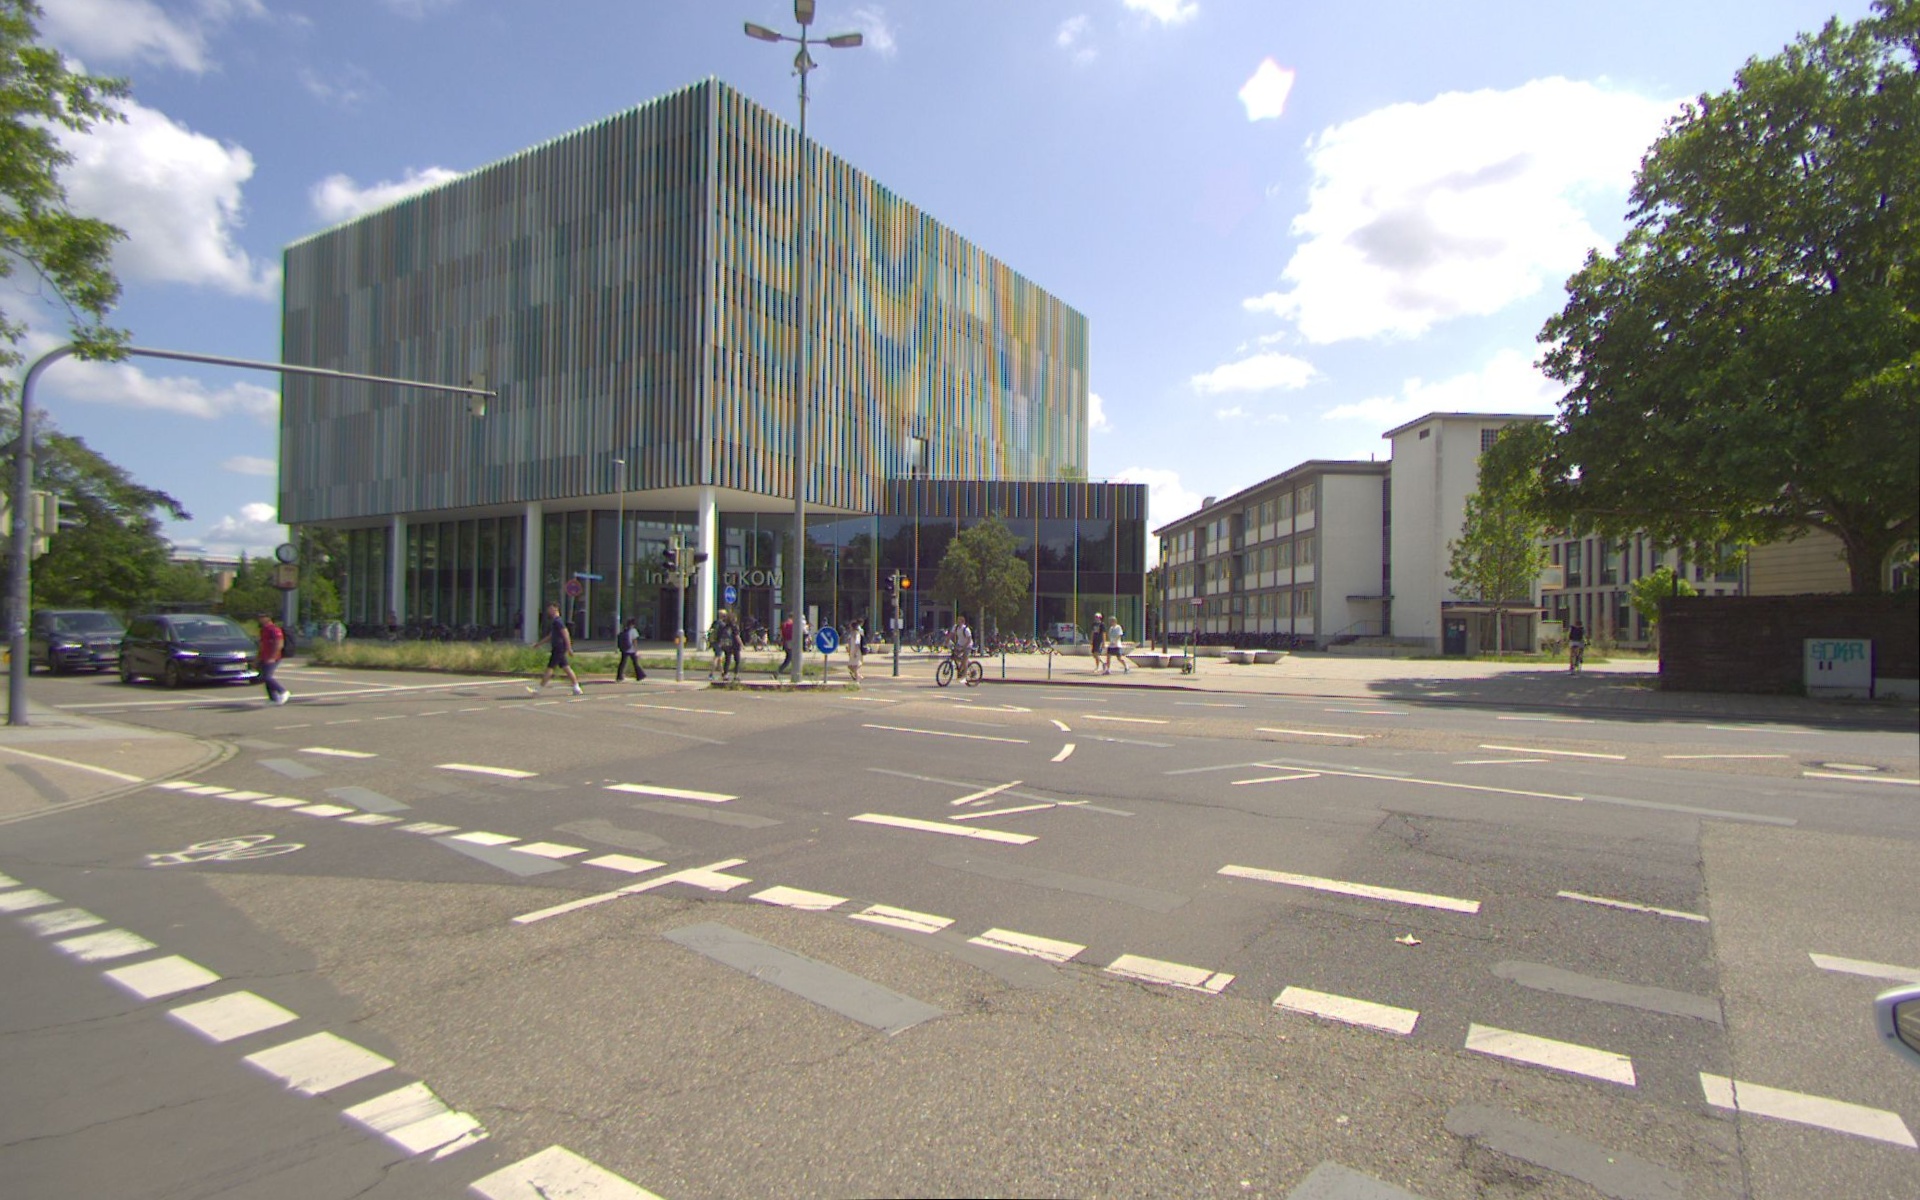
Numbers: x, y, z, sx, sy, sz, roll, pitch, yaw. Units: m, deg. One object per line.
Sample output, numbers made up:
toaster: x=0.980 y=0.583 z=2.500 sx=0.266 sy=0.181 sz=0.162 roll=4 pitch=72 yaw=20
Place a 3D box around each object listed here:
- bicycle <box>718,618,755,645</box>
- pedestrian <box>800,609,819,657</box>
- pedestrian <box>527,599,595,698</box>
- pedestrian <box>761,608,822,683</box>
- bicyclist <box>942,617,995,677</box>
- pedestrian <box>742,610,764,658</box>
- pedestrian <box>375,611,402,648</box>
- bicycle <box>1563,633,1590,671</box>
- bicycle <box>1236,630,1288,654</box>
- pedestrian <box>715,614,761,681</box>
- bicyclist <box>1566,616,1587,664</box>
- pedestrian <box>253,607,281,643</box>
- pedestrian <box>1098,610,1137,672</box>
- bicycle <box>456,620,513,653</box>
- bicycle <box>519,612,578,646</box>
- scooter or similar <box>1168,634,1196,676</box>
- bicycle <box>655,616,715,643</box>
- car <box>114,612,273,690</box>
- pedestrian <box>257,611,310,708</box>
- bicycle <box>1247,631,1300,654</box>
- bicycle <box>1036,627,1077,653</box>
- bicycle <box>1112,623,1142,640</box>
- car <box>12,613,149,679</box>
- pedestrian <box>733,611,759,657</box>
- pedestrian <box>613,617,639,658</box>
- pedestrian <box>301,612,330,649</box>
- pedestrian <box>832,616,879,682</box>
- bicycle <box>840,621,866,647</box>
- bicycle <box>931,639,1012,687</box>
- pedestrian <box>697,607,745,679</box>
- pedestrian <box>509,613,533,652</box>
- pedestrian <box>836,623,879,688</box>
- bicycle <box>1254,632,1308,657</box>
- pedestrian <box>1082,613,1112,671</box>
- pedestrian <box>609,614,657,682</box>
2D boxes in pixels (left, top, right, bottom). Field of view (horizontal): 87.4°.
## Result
bicycle: x=-11.079 y=1.567 z=50.002 sx=1.352 sy=1.253 sz=2.950 roll=2 pitch=-1 yaw=-4
pedestrian: x=-8.387 y=1.847 z=56.048 sx=0.958 sy=2.598 sz=1.013 roll=2 pitch=-1 yaw=-11
pedestrian: x=-7.872 y=0.940 z=19.834 sx=1.073 sy=1.895 sz=0.824 roll=1 pitch=-2 yaw=-35
pedestrian: x=-4.211 y=1.122 z=25.071 sx=1.255 sy=1.831 sz=0.800 roll=2 pitch=-2 yaw=-37
bicyclist: x=0.225 y=1.190 z=25.599 sx=1.058 sy=1.487 sz=0.843 roll=2 pitch=-2 yaw=-36
pedestrian: x=-11.506 y=1.893 z=55.840 sx=0.957 sy=2.598 sz=1.014 roll=2 pitch=-1 yaw=-4
pedestrian: x=-34.782 y=1.809 z=61.163 sx=0.959 sy=2.230 sz=1.012 roll=1 pitch=-1 yaw=32
bicycle: x=19.183 y=1.607 z=31.243 sx=0.543 sy=1.145 sz=2.166 roll=0 pitch=-2 yaw=37
bicycle: x=19.303 y=2.679 z=64.175 sx=2.909 sy=1.381 sz=1.275 roll=2 pitch=-1 yaw=-6
pedestrian: x=-5.640 y=1.196 z=25.492 sx=0.854 sy=1.676 sz=0.819 roll=2 pitch=-2 yaw=-37
bicyclist: x=19.105 y=1.243 z=31.126 sx=0.508 sy=1.471 sz=0.784 roll=0 pitch=-2 yaw=36
pedestrian: x=-44.055 y=1.601 z=63.866 sx=0.959 sy=2.205 sz=1.126 roll=1 pitch=-1 yaw=32
pedestrian: x=4.942 y=1.272 z=31.545 sx=0.855 sy=1.914 sz=0.909 roll=1 pitch=-1 yaw=-20
bicycle: x=-28.096 y=2.167 z=59.427 sx=0.946 sy=1.863 sz=2.943 roll=1 pitch=-2 yaw=34
bicycle: x=-23.568 y=1.658 z=57.576 sx=1.003 sy=1.863 sz=2.936 roll=0 pitch=-2 yaw=41
scooter or similar: x=6.872 y=1.655 z=30.980 sx=0.704 sy=1.194 sz=2.726 roll=0 pitch=-1 yaw=15
bicycle: x=-13.574 y=1.442 z=49.562 sx=2.897 sy=1.253 sz=1.016 roll=1 pitch=-1 yaw=29
car: x=-18.025 y=1.147 z=23.579 sx=4.223 sy=1.683 sz=1.648 roll=-1 pitch=-2 yaw=34
pedestrian: x=-12.221 y=1.060 z=18.148 sx=0.748 sy=1.700 sz=0.749 roll=1 pitch=-2 yaw=-34
bicycle: x=19.518 y=2.641 z=62.542 sx=2.909 sy=1.381 sz=1.116 roll=2 pitch=-1 yaw=-6
bicycle: x=4.927 y=2.041 z=51.356 sx=1.180 sy=1.253 sz=2.944 roll=2 pitch=-1 yaw=-13
bicycle: x=16.643 y=3.176 z=100.157 sx=2.932 sy=1.595 sz=1.109 roll=2 pitch=-2 yaw=-31
car: x=-24.483 y=1.234 z=27.909 sx=4.744 sy=1.683 sz=1.648 roll=-1 pitch=-2 yaw=34
pedestrian: x=-12.396 y=1.958 z=58.196 sx=0.959 sy=2.598 sz=1.012 roll=1 pitch=-1 yaw=32
pedestrian: x=-19.515 y=2.183 z=58.688 sx=0.959 sy=2.376 sz=1.012 roll=1 pitch=-1 yaw=32
pedestrian: x=-39.151 y=1.868 z=61.010 sx=0.959 sy=2.205 sz=1.126 roll=1 pitch=-1 yaw=32
pedestrian: x=-3.021 y=1.401 z=29.009 sx=1.085 sy=1.843 sz=0.856 roll=1 pitch=-2 yaw=-35
bicycle: x=-5.362 y=1.706 z=50.461 sx=1.178 sy=1.253 sz=2.950 roll=2 pitch=-1 yaw=-4
bicycle: x=0.303 y=1.587 z=25.654 sx=1.976 sy=1.160 sz=0.842 roll=2 pitch=-2 yaw=-36
pedestrian: x=-6.480 y=1.163 z=27.206 sx=0.997 sy=1.901 sz=0.846 roll=2 pitch=-2 yaw=-37
pedestrian: x=-26.842 y=1.984 z=61.453 sx=0.959 sy=2.376 sz=0.888 roll=1 pitch=-1 yaw=32
pedestrian: x=-2.491 y=1.339 z=24.561 sx=0.811 sy=1.543 sz=0.815 roll=1 pitch=-1 yaw=13
bicycle: x=19.562 y=2.714 z=61.209 sx=2.909 sy=1.381 sz=1.116 roll=2 pitch=-1 yaw=-6
pedestrian: x=4.397 y=1.335 z=32.254 sx=0.660 sy=1.839 sz=0.812 roll=1 pitch=-1 yaw=-20
pedestrian: x=-7.887 y=1.143 z=24.233 sx=0.760 sy=1.619 sz=0.796 roll=0 pitch=-2 yaw=34
